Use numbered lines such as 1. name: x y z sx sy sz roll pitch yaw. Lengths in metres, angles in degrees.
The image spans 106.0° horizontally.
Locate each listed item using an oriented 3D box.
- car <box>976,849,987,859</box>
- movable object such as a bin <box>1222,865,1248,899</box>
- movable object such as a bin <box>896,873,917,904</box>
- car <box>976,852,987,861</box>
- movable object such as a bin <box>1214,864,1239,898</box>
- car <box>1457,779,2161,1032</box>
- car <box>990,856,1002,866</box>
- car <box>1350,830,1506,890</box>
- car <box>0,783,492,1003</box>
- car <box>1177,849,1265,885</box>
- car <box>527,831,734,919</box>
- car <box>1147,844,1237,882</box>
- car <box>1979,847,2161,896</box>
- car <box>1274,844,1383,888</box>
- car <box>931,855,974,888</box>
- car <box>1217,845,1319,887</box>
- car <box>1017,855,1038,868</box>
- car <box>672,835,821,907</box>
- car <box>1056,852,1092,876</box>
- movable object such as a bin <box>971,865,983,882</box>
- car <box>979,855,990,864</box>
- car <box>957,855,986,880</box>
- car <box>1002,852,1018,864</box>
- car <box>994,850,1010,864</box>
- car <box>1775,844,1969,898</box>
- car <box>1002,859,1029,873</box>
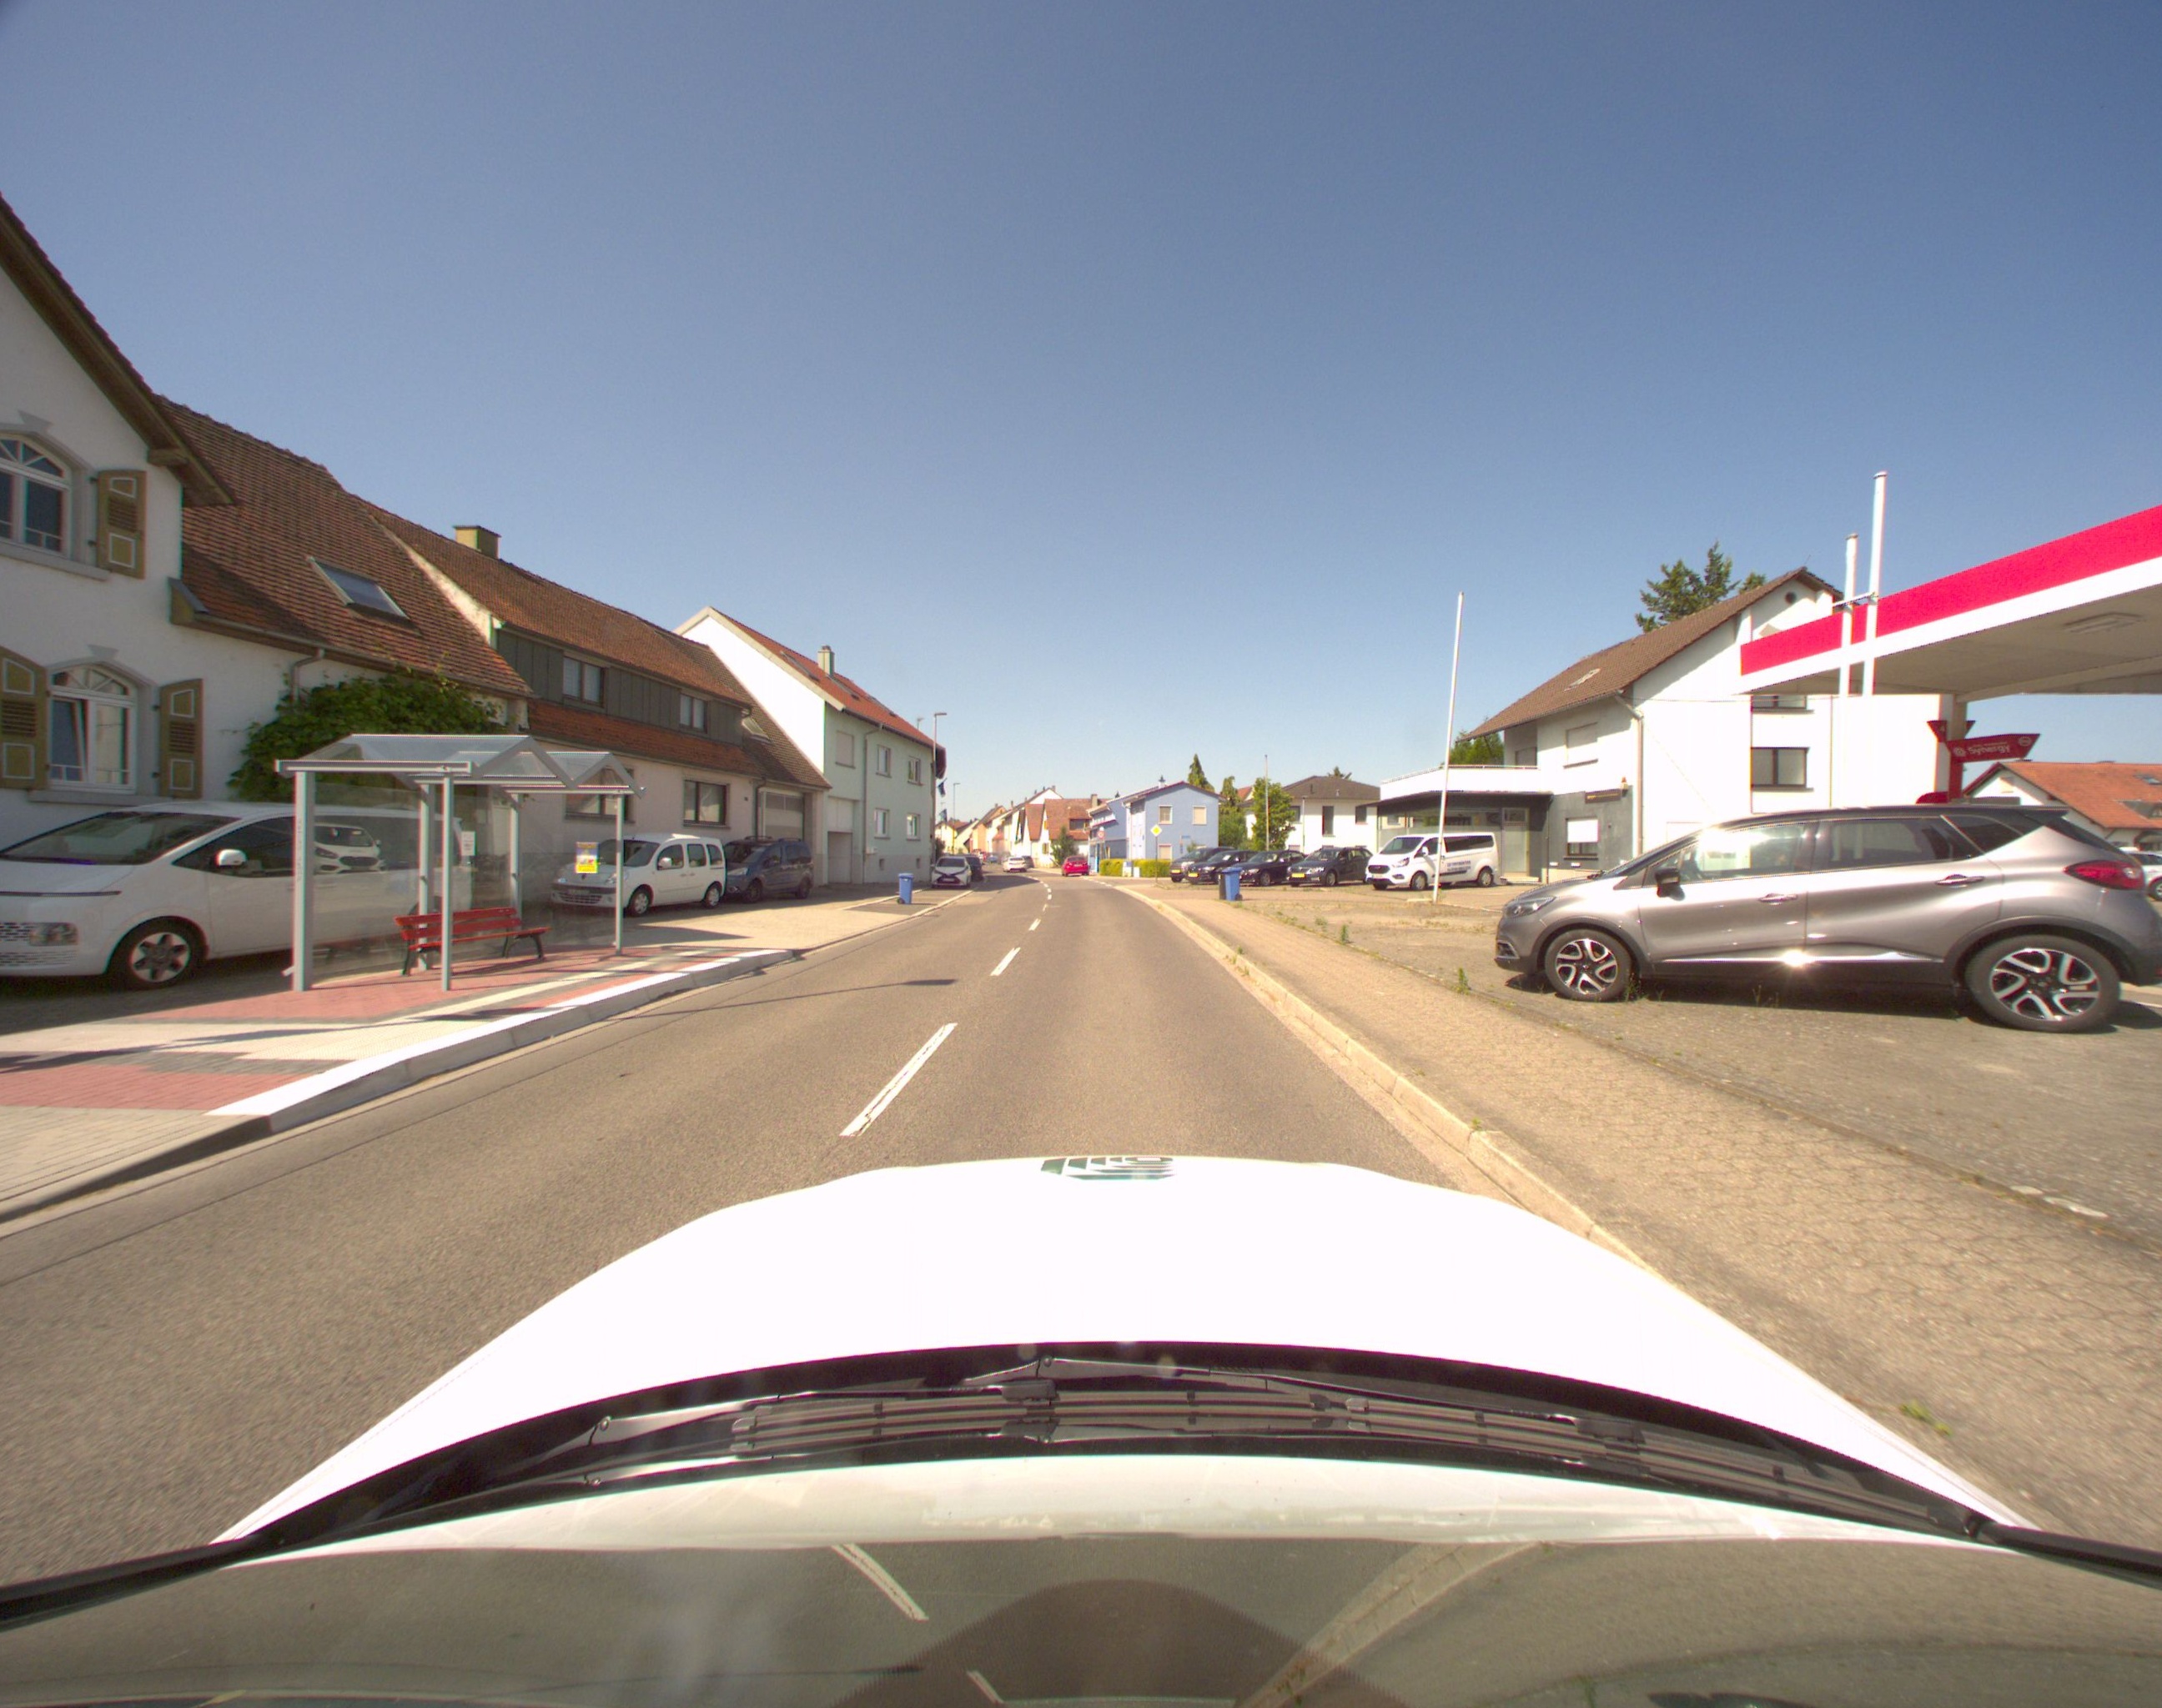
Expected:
1. car: -18.767 0.005 153.394 1.768 2.004 3.436 0 0 -12
2. movable object such as a bin: 4.348 0.785 23.016 0.557 0.939 0.513 -1 0 -9
3. movable object such as a bin: -5.391 1.058 25.151 0.557 0.936 0.513 2 -1 -9
4. car: -18.126 0.459 148.212 1.768 1.433 3.436 0 0 -12
5. movable object such as a bin: 4.194 0.777 23.519 0.557 0.936 0.513 -1 0 -9
6. car: 5.674 0.384 6.935 4.128 1.555 1.786 -3 -1 38
7. car: -12.833 1.076 122.402 1.422 1.515 3.289 1 0 -13
8. car: 12.569 0.168 29.445 5.294 2.013 2.214 -1 0 -25
9. car: -10.314 0.369 10.026 2.118 1.986 5.267 1 -1 2
10. car: 6.090 0.520 35.307 3.895 1.447 1.730 -1 0 -42
11. car: -10.100 0.442 18.722 1.957 1.774 4.285 0 -1 7
12. car: 5.194 0.381 37.940 4.134 1.653 1.810 -1 0 -38
13. car: 33.333 0.573 27.228 4.024 1.479 1.822 2 -1 26
14. car: 9.571 0.427 31.327 4.340 1.550 1.961 -1 0 -40
15. car: -5.905 0.792 37.728 1.681 1.462 3.643 1 -1 -5
16. car: 7.646 0.455 33.116 4.263 1.565 1.960 -1 0 -42
17. car: -6.001 0.822 90.360 1.706 1.433 3.872 1 0 -13
18. car: -9.463 0.452 23.463 1.825 1.793 4.355 3 0 10
19. car: -0.549 0.720 59.183 1.734 1.494 4.338 -1 2 -12
20. movable object such as a bin: -5.945 1.108 46.741 0.552 0.928 0.822 4 -1 -12
21. car: -16.574 0.899 139.648 1.422 1.515 3.289 1 0 -13
22. car: -6.766 0.814 50.593 1.676 1.437 3.986 3 -1 -7
23. car: -9.335 0.559 106.844 1.706 1.497 3.437 1 0 -13
24. car: -10.883 0.390 111.745 1.651 1.910 3.609 1 0 -13
25. car: 23.112 0.487 23.907 4.051 1.479 1.810 0 0 -2
26. car: -6.193 1.087 76.350 1.995 1.288 3.983 0 0 -13
